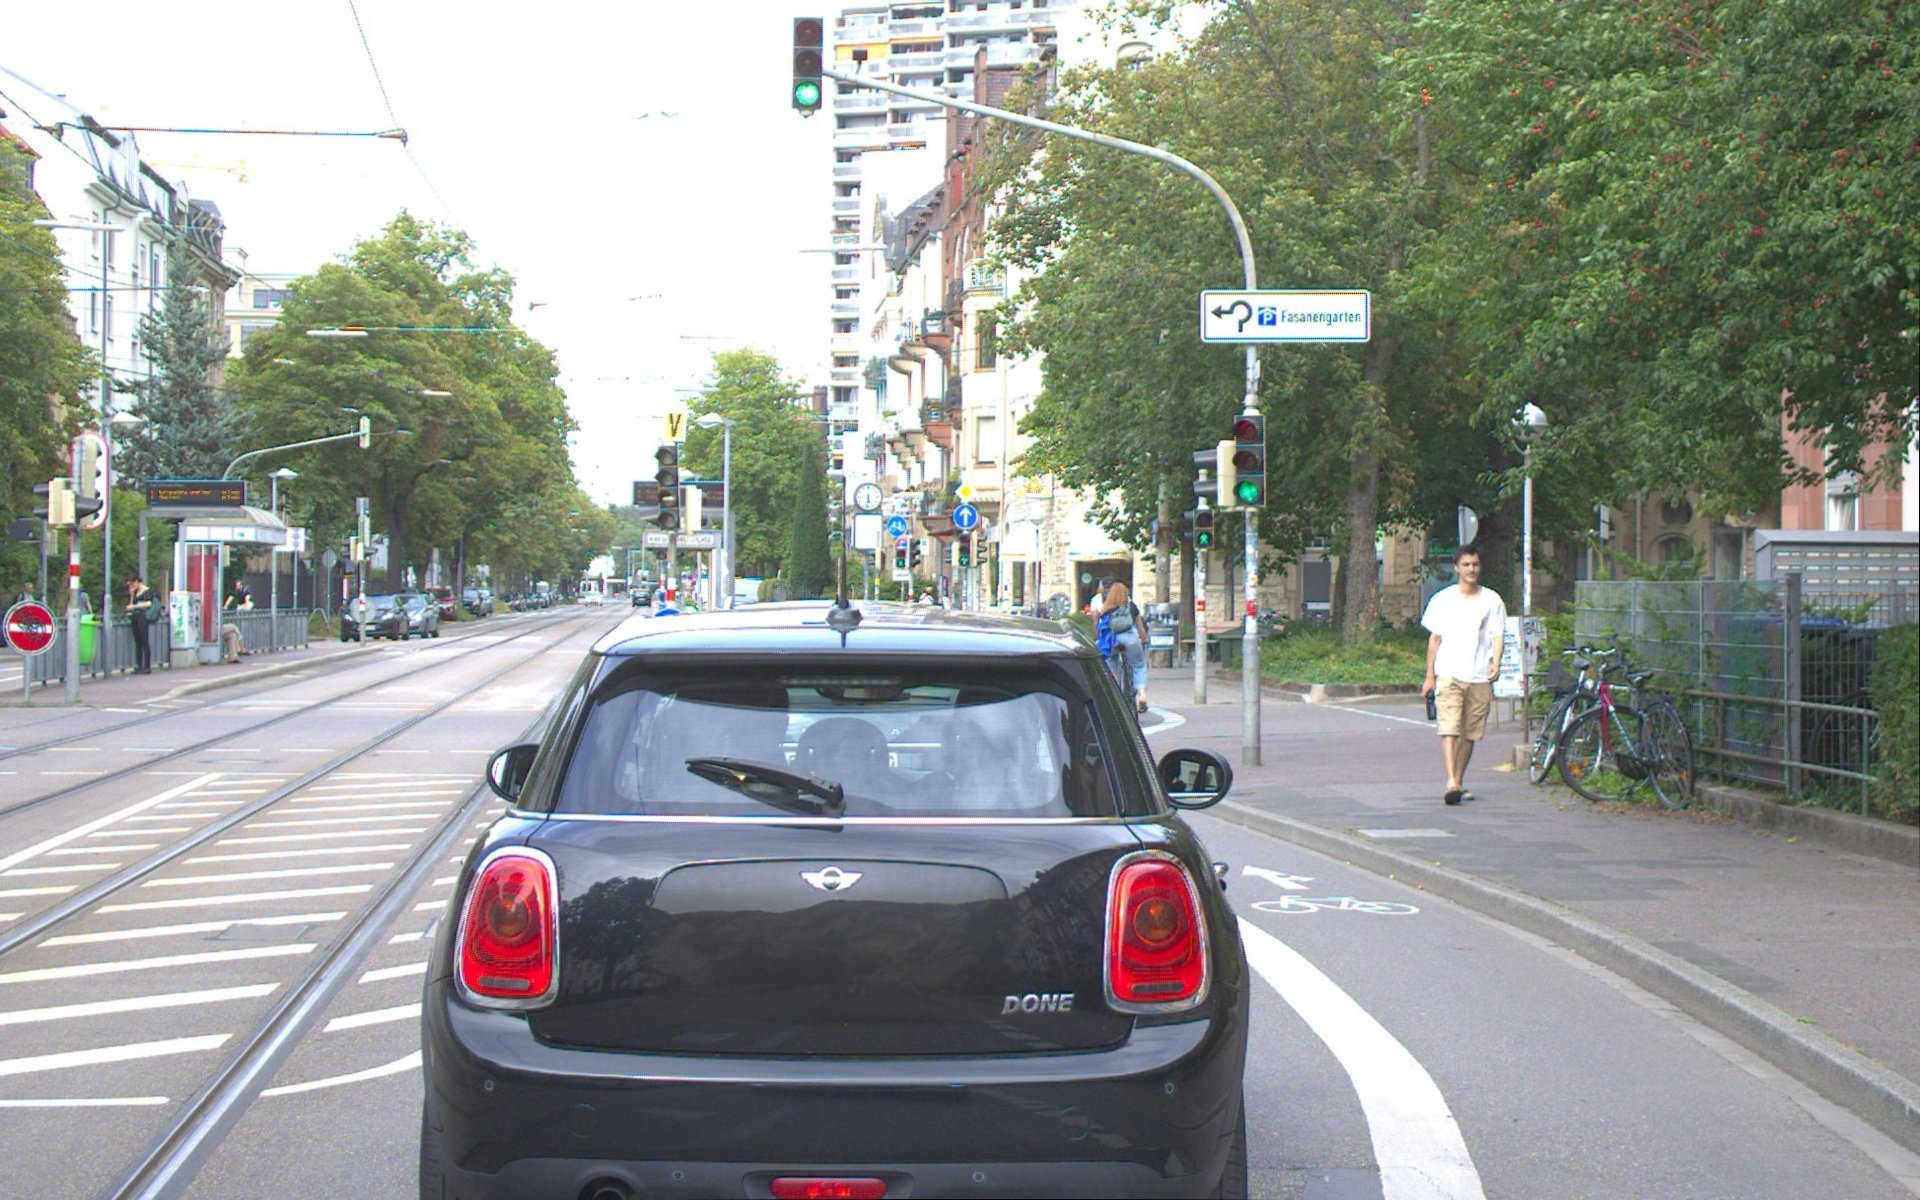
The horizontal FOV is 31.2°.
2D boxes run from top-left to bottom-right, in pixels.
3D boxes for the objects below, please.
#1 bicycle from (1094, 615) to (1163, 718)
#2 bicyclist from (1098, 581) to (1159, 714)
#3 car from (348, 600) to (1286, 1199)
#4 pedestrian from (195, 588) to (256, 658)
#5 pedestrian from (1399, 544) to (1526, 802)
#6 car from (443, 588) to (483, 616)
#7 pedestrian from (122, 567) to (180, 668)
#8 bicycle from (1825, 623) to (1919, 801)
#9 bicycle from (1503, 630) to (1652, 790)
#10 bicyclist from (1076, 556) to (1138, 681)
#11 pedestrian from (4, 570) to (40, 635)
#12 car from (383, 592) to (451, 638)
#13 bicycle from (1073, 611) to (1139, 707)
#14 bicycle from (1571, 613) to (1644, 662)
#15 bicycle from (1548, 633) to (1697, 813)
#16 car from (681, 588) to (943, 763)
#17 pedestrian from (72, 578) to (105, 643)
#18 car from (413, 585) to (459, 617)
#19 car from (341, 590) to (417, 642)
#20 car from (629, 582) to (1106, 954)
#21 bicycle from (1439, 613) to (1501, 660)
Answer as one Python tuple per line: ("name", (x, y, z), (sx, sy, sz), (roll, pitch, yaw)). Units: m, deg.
("bicycle", (1.988, 0.774, 40.615), (0.598, 1.166, 1.697), (0, 0, -5))
("bicyclist", (1.988, 0.550, 40.615), (0.594, 1.545, 1.014), (0, 0, -5))
("car", (-0.308, 0.731, 8.449), (1.751, 1.436, 4.000), (0, 0, -1))
("pedestrian", (-13.637, 0.424, 63.838), (1.058, 1.289, 0.986), (0, 0, -10))
("pedestrian", (3.473, 0.495, 23.820), (0.730, 1.748, 0.950), (0, 0, 0))
("car", (-28.205, 0.087, 195.292), (1.993, 1.547, 4.001), (0, 0, -4))
("pedestrian", (-13.147, 0.284, 55.876), (0.851, 1.615, 0.843), (0, 0, -10))
("bicycle", (5.837, 0.641, 19.869), (1.544, 1.005, 0.510), (0, 0, -6))
("bicycle", (4.509, 0.789, 25.189), (0.671, 1.102, 1.672), (0, 0, -5))
("bicyclist", (1.851, 0.229, 43.436), (0.684, 1.558, 0.998), (0, 0, -3))
("pedestrian", (-24.632, 0.054, 90.267), (0.832, 1.697, 0.733), (0, 0, -10))
("car", (-17.738, 0.480, 112.389), (1.751, 1.436, 4.000), (2, 0, -3))
("bicycle", (1.841, 0.738, 43.494), (0.684, 1.166, 1.697), (0, 0, -3))
("bicycle", (15.405, 0.897, 81.785), (1.888, 1.124, 0.532), (-1, 1, -35))
("bicycle", (4.307, 0.780, 22.445), (0.508, 1.085, 1.550), (-3, 1, -4))
("car", (-1.239, 0.619, 30.664), (1.752, 1.436, 4.478), (0, 0, 5))
("pedestrian", (-23.172, 0.274, 91.408), (0.694, 1.713, 0.758), (0, 0, -3))
("car", (-26.255, 0.049, 172.400), (1.993, 1.547, 4.001), (0, 0, -4))
("car", (-17.409, 0.465, 103.163), (1.751, 1.436, 4.000), (2, 0, -3))
("car", (-0.422, 0.679, 15.952), (1.927, 1.505, 4.000), (0, 0, -1))
("bicycle", (12.586, 0.890, 84.800), (0.667, 1.124, 1.889), (0, 0, 38))
